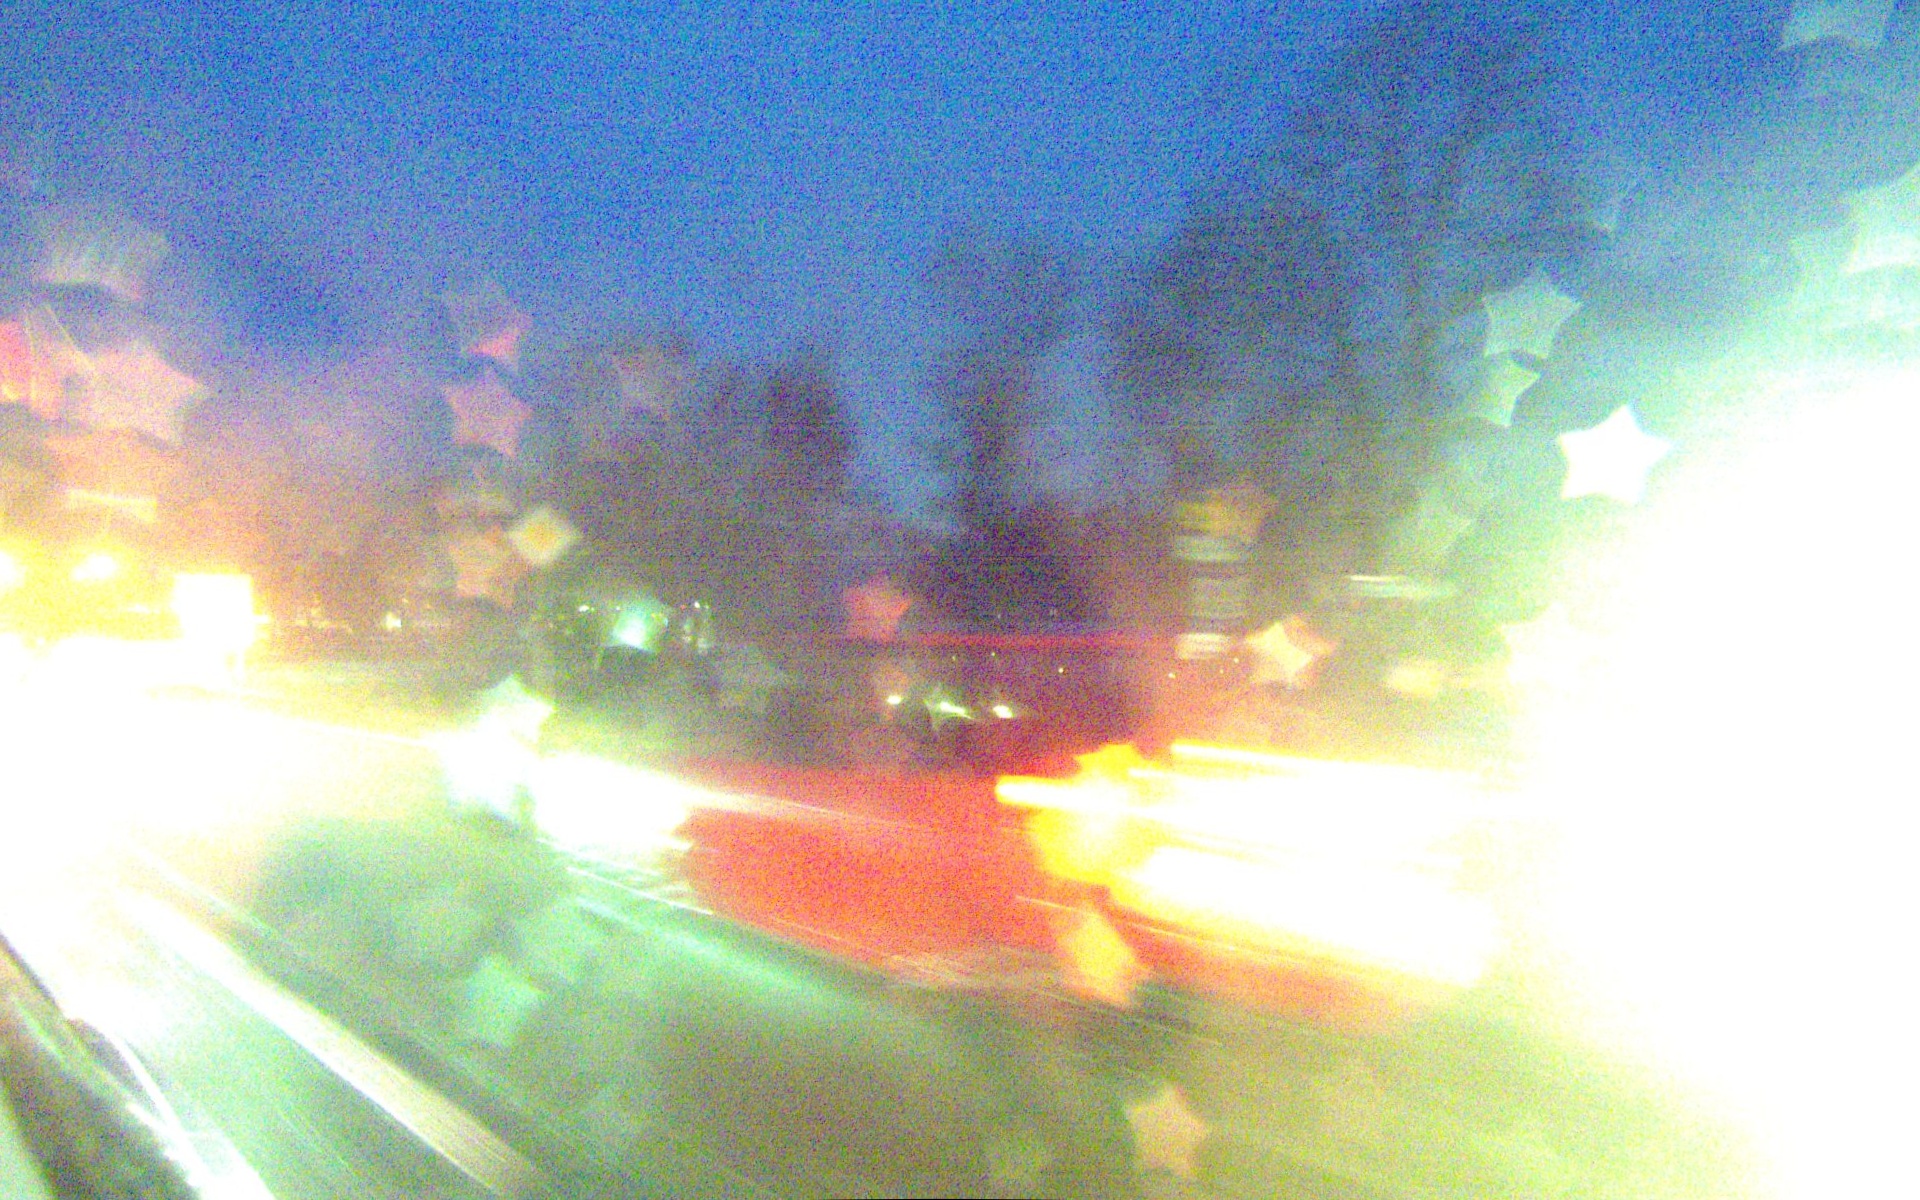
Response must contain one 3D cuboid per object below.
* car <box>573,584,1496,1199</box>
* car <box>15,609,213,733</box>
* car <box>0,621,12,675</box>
[{"bbox_3d":[0.042,0.710,4.149,3.550,1.435,1.582,-1,-1,41],"label":"car"},{"bbox_3d":[-12.664,0.945,15.059,4.191,1.584,1.783,-1,-1,43],"label":"car"},{"bbox_3d":[-30.941,1.474,31.585,3.730,1.627,1.623,-2,-4,42],"label":"car"}]
